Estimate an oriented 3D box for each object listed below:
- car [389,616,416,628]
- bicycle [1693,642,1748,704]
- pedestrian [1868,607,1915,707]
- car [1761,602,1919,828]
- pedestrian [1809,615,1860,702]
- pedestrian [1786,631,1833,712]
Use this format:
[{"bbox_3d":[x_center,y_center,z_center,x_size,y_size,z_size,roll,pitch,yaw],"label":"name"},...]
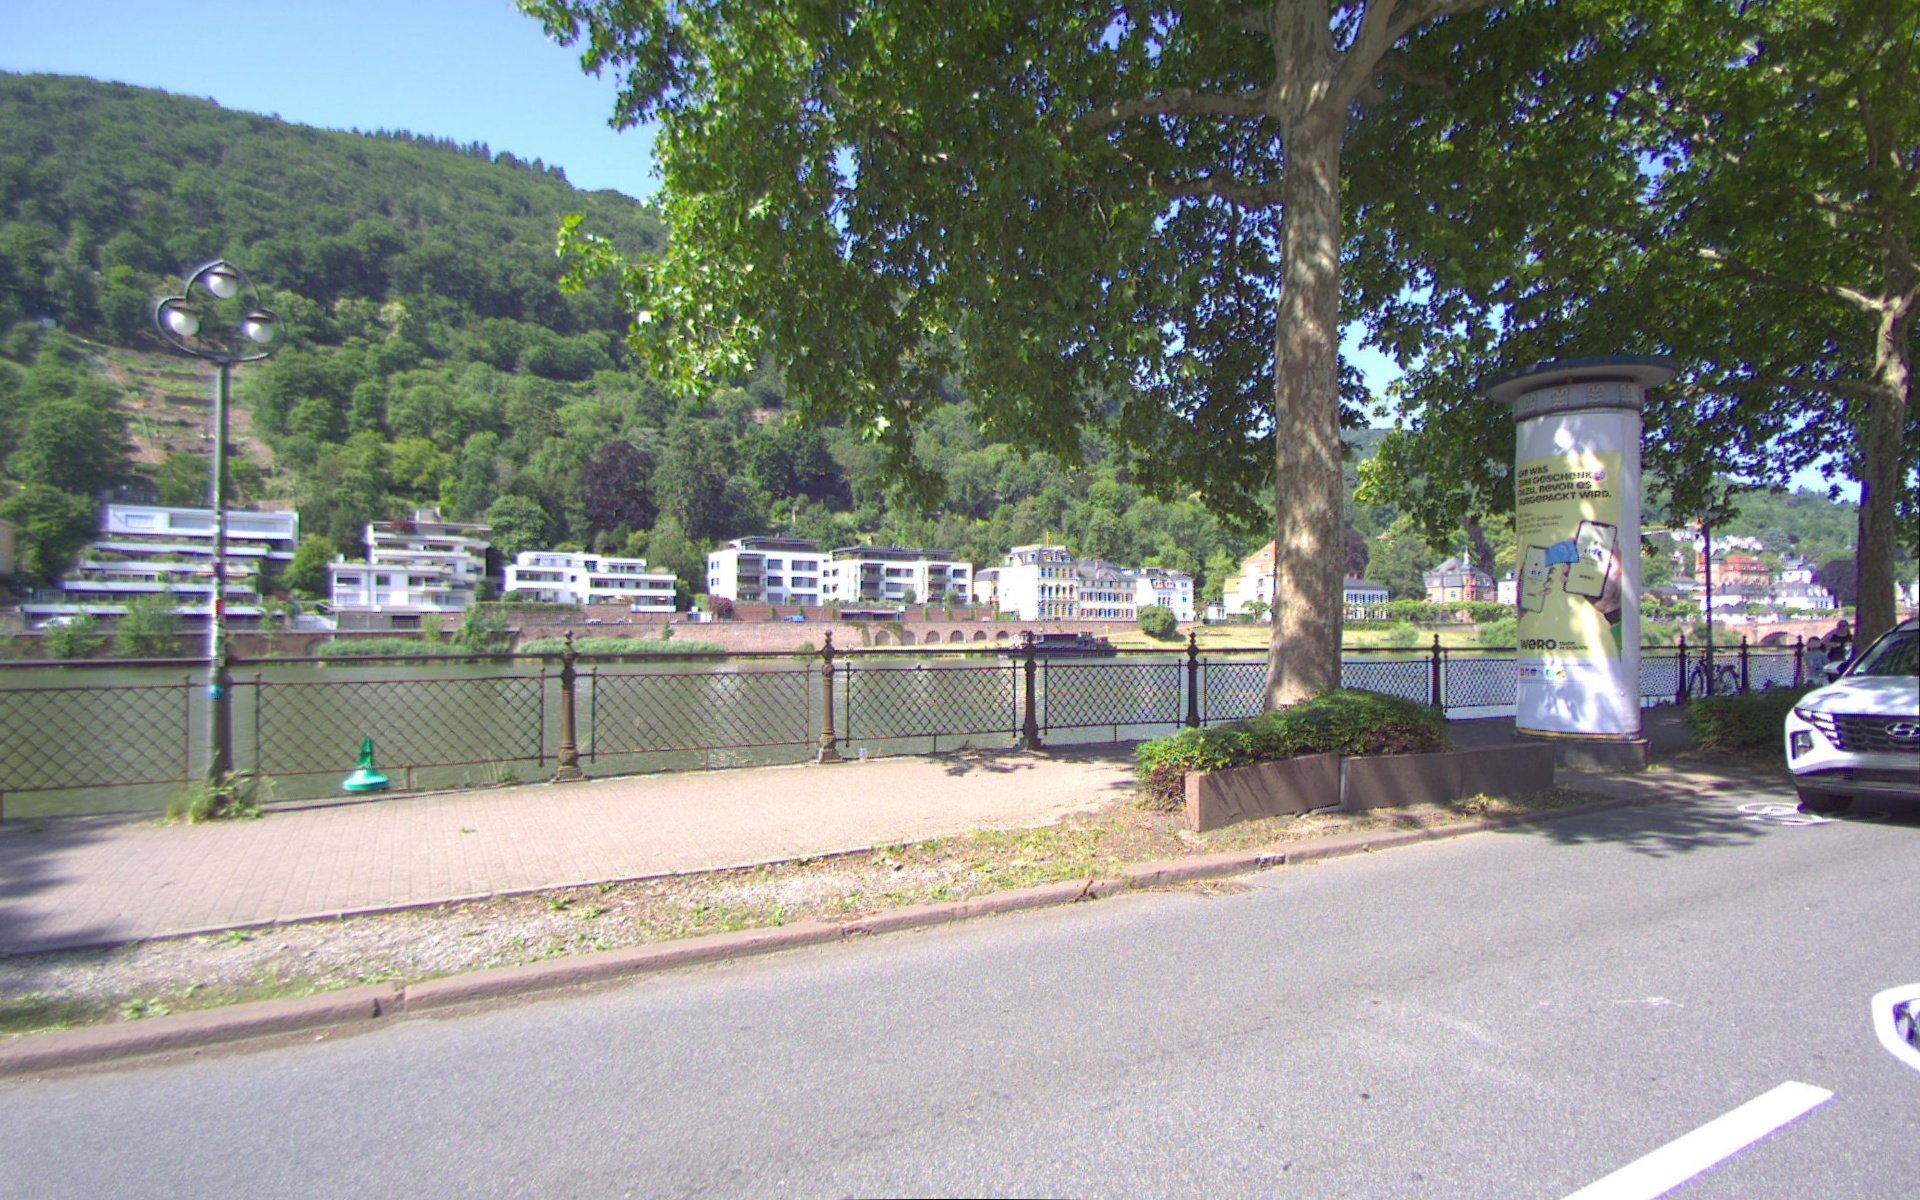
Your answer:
[{"bbox_3d":[-94.667,3.731,170.537,3.953,2.041,1.984,0,1,-30],"label":"car"},{"bbox_3d":[14.360,1.363,18.961,1.281,1.106,0.357,1,2,-31],"label":"bicycle"},{"bbox_3d":[18.198,1.100,19.626,0.431,1.912,0.531,1,1,-30],"label":"pedestrian"},{"bbox_3d":[8.825,0.898,8.571,3.954,1.681,1.761,1,-5,-31],"label":"car"},{"bbox_3d":[17.613,1.164,20.235,0.577,1.708,0.598,1,-2,-31],"label":"pedestrian"},{"bbox_3d":[14.903,1.248,17.622,0.411,1.381,0.477,1,1,-26],"label":"pedestrian"}]
